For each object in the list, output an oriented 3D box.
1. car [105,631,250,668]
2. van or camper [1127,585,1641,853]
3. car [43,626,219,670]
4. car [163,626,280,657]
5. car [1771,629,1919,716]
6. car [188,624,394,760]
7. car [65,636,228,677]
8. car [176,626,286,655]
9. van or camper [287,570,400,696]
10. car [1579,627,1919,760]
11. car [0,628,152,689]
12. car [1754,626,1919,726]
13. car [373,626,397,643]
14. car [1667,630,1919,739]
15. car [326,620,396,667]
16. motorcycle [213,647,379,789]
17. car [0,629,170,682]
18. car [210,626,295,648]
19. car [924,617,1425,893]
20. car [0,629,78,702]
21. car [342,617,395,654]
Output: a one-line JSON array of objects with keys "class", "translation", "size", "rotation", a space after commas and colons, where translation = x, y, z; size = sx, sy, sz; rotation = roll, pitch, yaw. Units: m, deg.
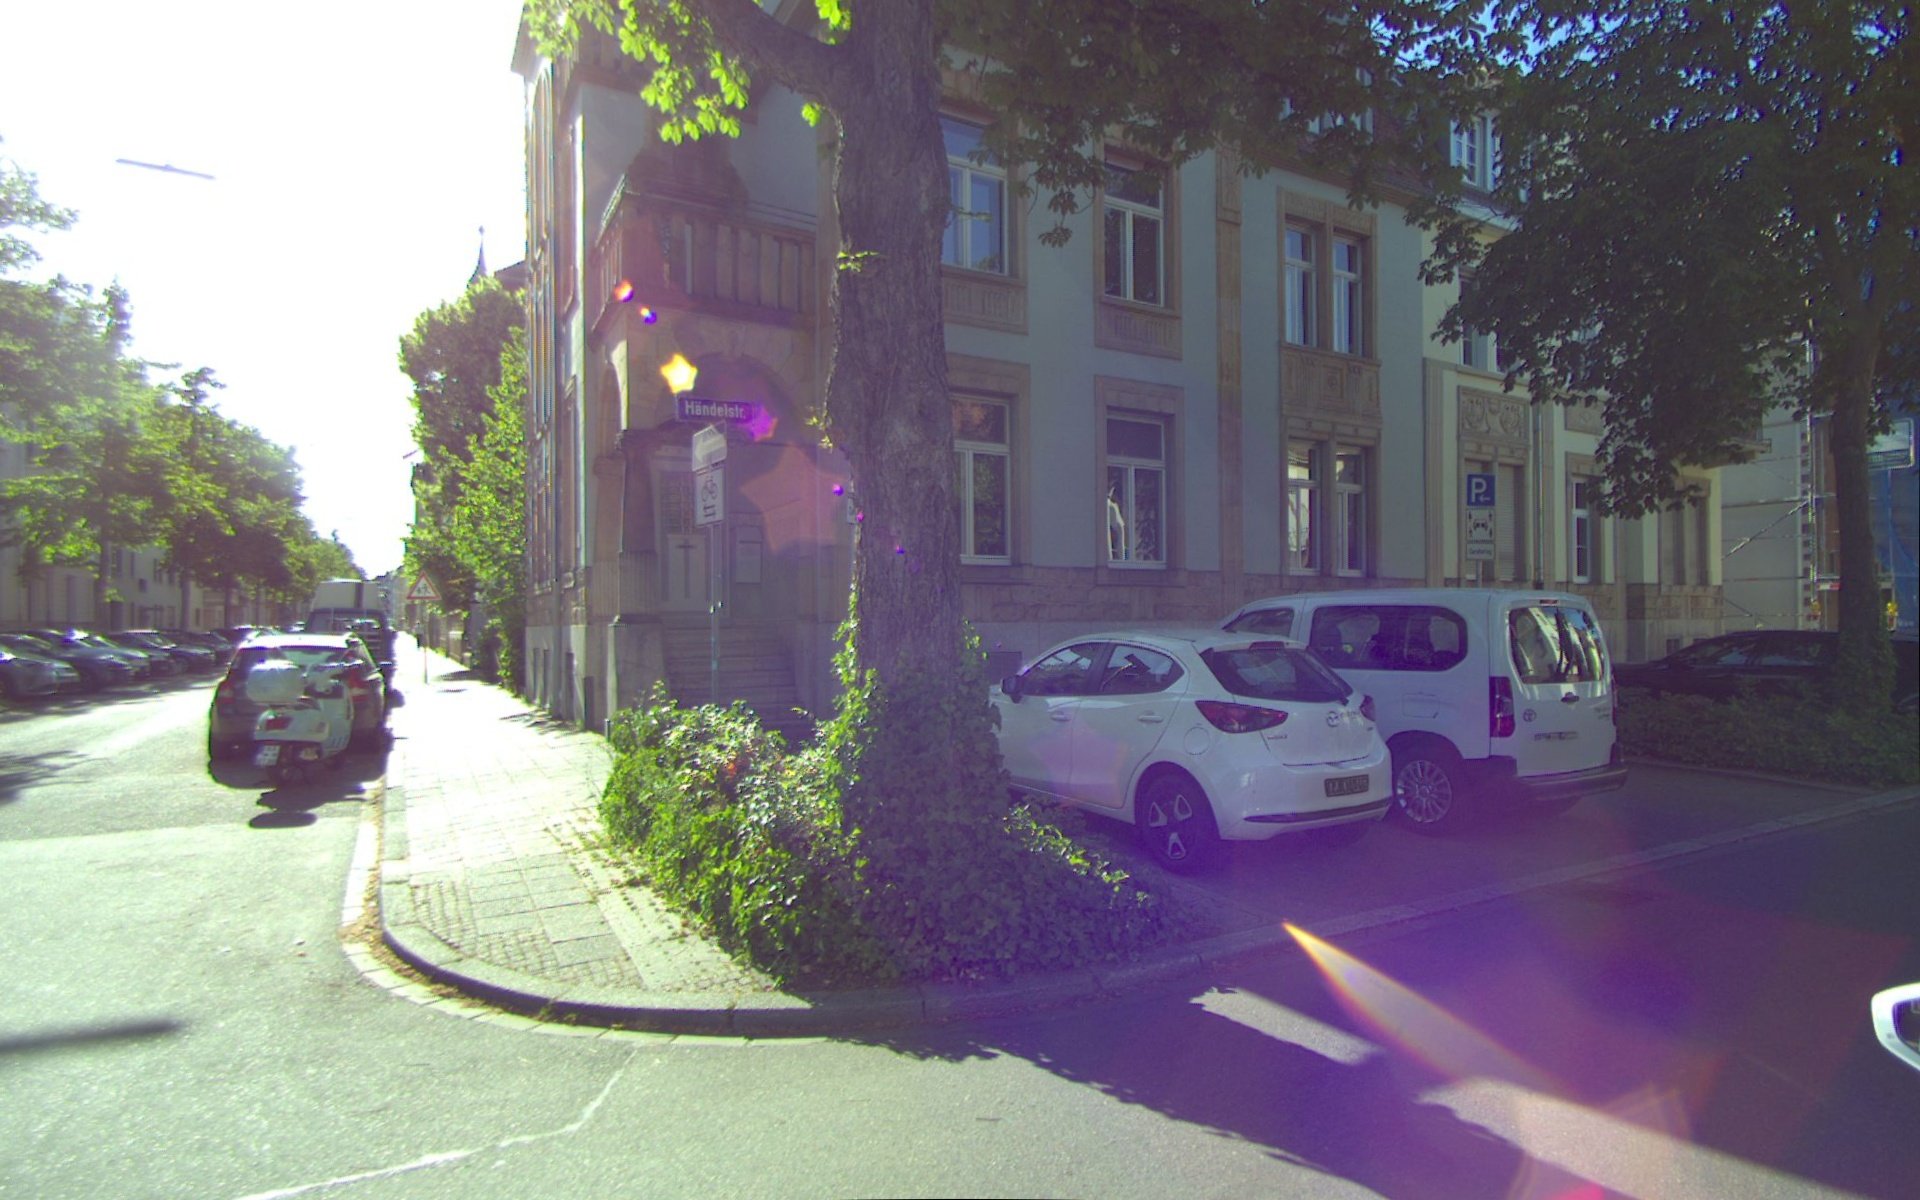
[{"class": "car", "translation": [-31.680, 1.994, 40.836], "size": [4.365, 1.428, 1.857], "rotation": [2, -2, -29]}, {"class": "van or camper", "translation": [3.439, 0.821, 8.901], "size": [1.788, 1.797, 3.925], "rotation": [-1, 0, -30]}, {"class": "car", "translation": [-28.453, 1.650, 34.688], "size": [4.365, 1.428, 1.857], "rotation": [2, -2, -29]}, {"class": "car", "translation": [-36.051, 2.010, 49.191], "size": [4.364, 1.428, 1.857], "rotation": [1, -1, -30]}, {"class": "car", "translation": [16.734, 1.240, 17.603], "size": [1.675, 1.467, 3.535], "rotation": [1, -3, -29]}, {"class": "car", "translation": [-8.533, 1.084, 13.141], "size": [1.872, 1.483, 3.876], "rotation": [2, -2, -29]}, {"class": "car", "translation": [-29.842, 2.041, 37.033], "size": [4.365, 1.428, 1.857], "rotation": [2, -2, -29]}, {"class": "car", "translation": [-37.602, 2.077, 51.964], "size": [4.364, 1.428, 1.857], "rotation": [1, -1, -30]}, {"class": "van or camper", "translation": [-13.806, 0.746, 22.704], "size": [1.888, 2.557, 4.236], "rotation": [2, -2, -29]}, {"class": "car", "translation": [10.682, 1.099, 13.141], "size": [1.690, 1.419, 4.120], "rotation": [0, 0, -30]}, {"class": "car", "translation": [-22.599, 1.399, 24.353], "size": [4.365, 1.428, 1.857], "rotation": [2, -2, -29]}, {"class": "car", "translation": [15.031, 1.153, 15.716], "size": [1.693, 1.484, 3.711], "rotation": [0, -2, -29]}, {"class": "car", "translation": [-54.230, 3.195, 94.777], "size": [1.888, 1.548, 3.876], "rotation": [0, -1, -29]}, {"class": "car", "translation": [12.863, 1.173, 14.748], "size": [1.626, 1.449, 3.731], "rotation": [1, -2, -29]}, {"class": "car", "translation": [-20.491, 1.466, 34.494], "size": [1.888, 1.483, 3.876], "rotation": [3, -2, -29]}, {"class": "motorcycle", "translation": [-6.643, 1.125, 10.172], "size": [0.577, 1.256, 1.846], "rotation": [0, -1, -5]}, {"class": "car", "translation": [-25.219, 1.535, 28.288], "size": [4.365, 1.428, 1.857], "rotation": [2, -2, -29]}, {"class": "car", "translation": [-46.637, 2.410, 66.306], "size": [4.364, 1.428, 1.857], "rotation": [1, -1, -30]}, {"class": "car", "translation": [1.353, 0.905, 7.675], "size": [1.702, 1.536, 3.706], "rotation": [1, -1, -31]}, {"class": "car", "translation": [-20.502, 1.275, 19.770], "size": [4.365, 1.428, 1.857], "rotation": [2, -2, -29]}, {"class": "car", "translation": [-26.393, 1.597, 44.893], "size": [1.888, 1.547, 3.876], "rotation": [2, -2, -29]}]
